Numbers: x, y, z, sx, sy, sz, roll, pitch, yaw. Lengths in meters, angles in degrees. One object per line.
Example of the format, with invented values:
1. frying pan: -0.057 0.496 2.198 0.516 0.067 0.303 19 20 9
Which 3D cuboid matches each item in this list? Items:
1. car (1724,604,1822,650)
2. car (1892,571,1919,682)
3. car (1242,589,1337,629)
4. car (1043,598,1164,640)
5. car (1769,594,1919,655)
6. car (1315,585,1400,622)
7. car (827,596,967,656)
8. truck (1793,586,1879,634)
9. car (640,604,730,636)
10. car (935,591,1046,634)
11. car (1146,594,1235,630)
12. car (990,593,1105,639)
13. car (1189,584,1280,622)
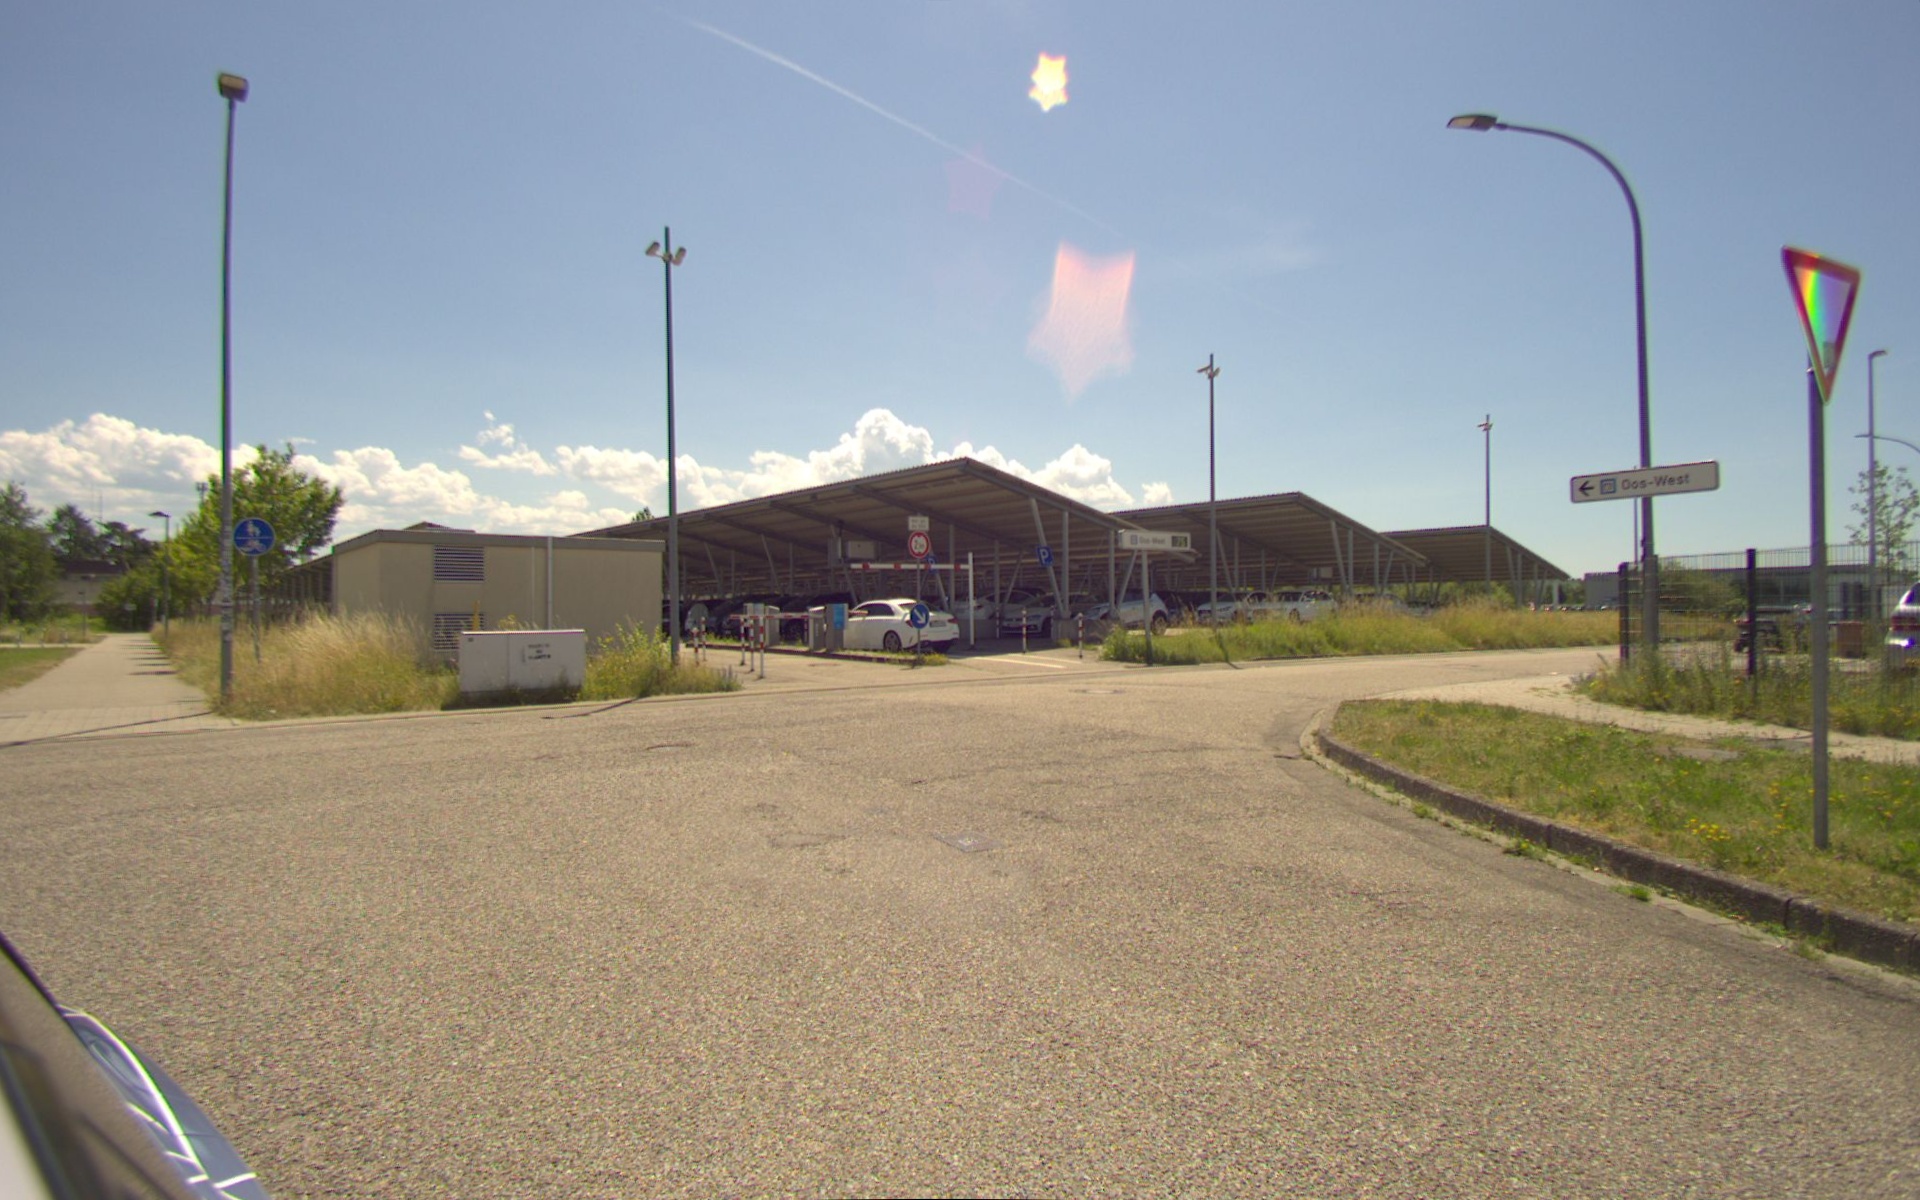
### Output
1. car: 26.106 0.831 32.457 3.937 1.387 1.700 0 -1 -40
2. car: 14.582 0.346 14.143 3.622 1.475 1.727 0 -1 -39
3. car: 12.553 0.363 38.488 3.717 1.447 1.726 0 -1 -41
4. car: 4.534 0.585 31.774 3.717 1.237 1.726 0 -1 -41
5. car: 24.229 0.625 26.542 1.672 1.526 4.413 0 -1 -37
6. car: 16.575 0.167 42.136 3.717 1.447 1.726 0 -1 -41
7. car: -1.689 0.664 26.327 1.696 1.447 3.781 0 -1 -41
8. truck: 39.024 0.444 45.048 5.017 2.029 2.170 0 -1 -41
9. car: -13.009 0.918 47.981 3.717 1.447 1.726 0 -1 -41
10. car: 1.107 0.451 35.812 3.717 1.447 1.726 0 -1 -41
11. car: 9.660 0.491 42.292 3.717 1.447 1.726 0 -1 -41
12. car: 2.946 0.533 33.877 3.717 1.447 1.726 0 -1 -41
13. car: 11.063 0.147 40.698 3.717 1.447 1.726 0 -1 -41
